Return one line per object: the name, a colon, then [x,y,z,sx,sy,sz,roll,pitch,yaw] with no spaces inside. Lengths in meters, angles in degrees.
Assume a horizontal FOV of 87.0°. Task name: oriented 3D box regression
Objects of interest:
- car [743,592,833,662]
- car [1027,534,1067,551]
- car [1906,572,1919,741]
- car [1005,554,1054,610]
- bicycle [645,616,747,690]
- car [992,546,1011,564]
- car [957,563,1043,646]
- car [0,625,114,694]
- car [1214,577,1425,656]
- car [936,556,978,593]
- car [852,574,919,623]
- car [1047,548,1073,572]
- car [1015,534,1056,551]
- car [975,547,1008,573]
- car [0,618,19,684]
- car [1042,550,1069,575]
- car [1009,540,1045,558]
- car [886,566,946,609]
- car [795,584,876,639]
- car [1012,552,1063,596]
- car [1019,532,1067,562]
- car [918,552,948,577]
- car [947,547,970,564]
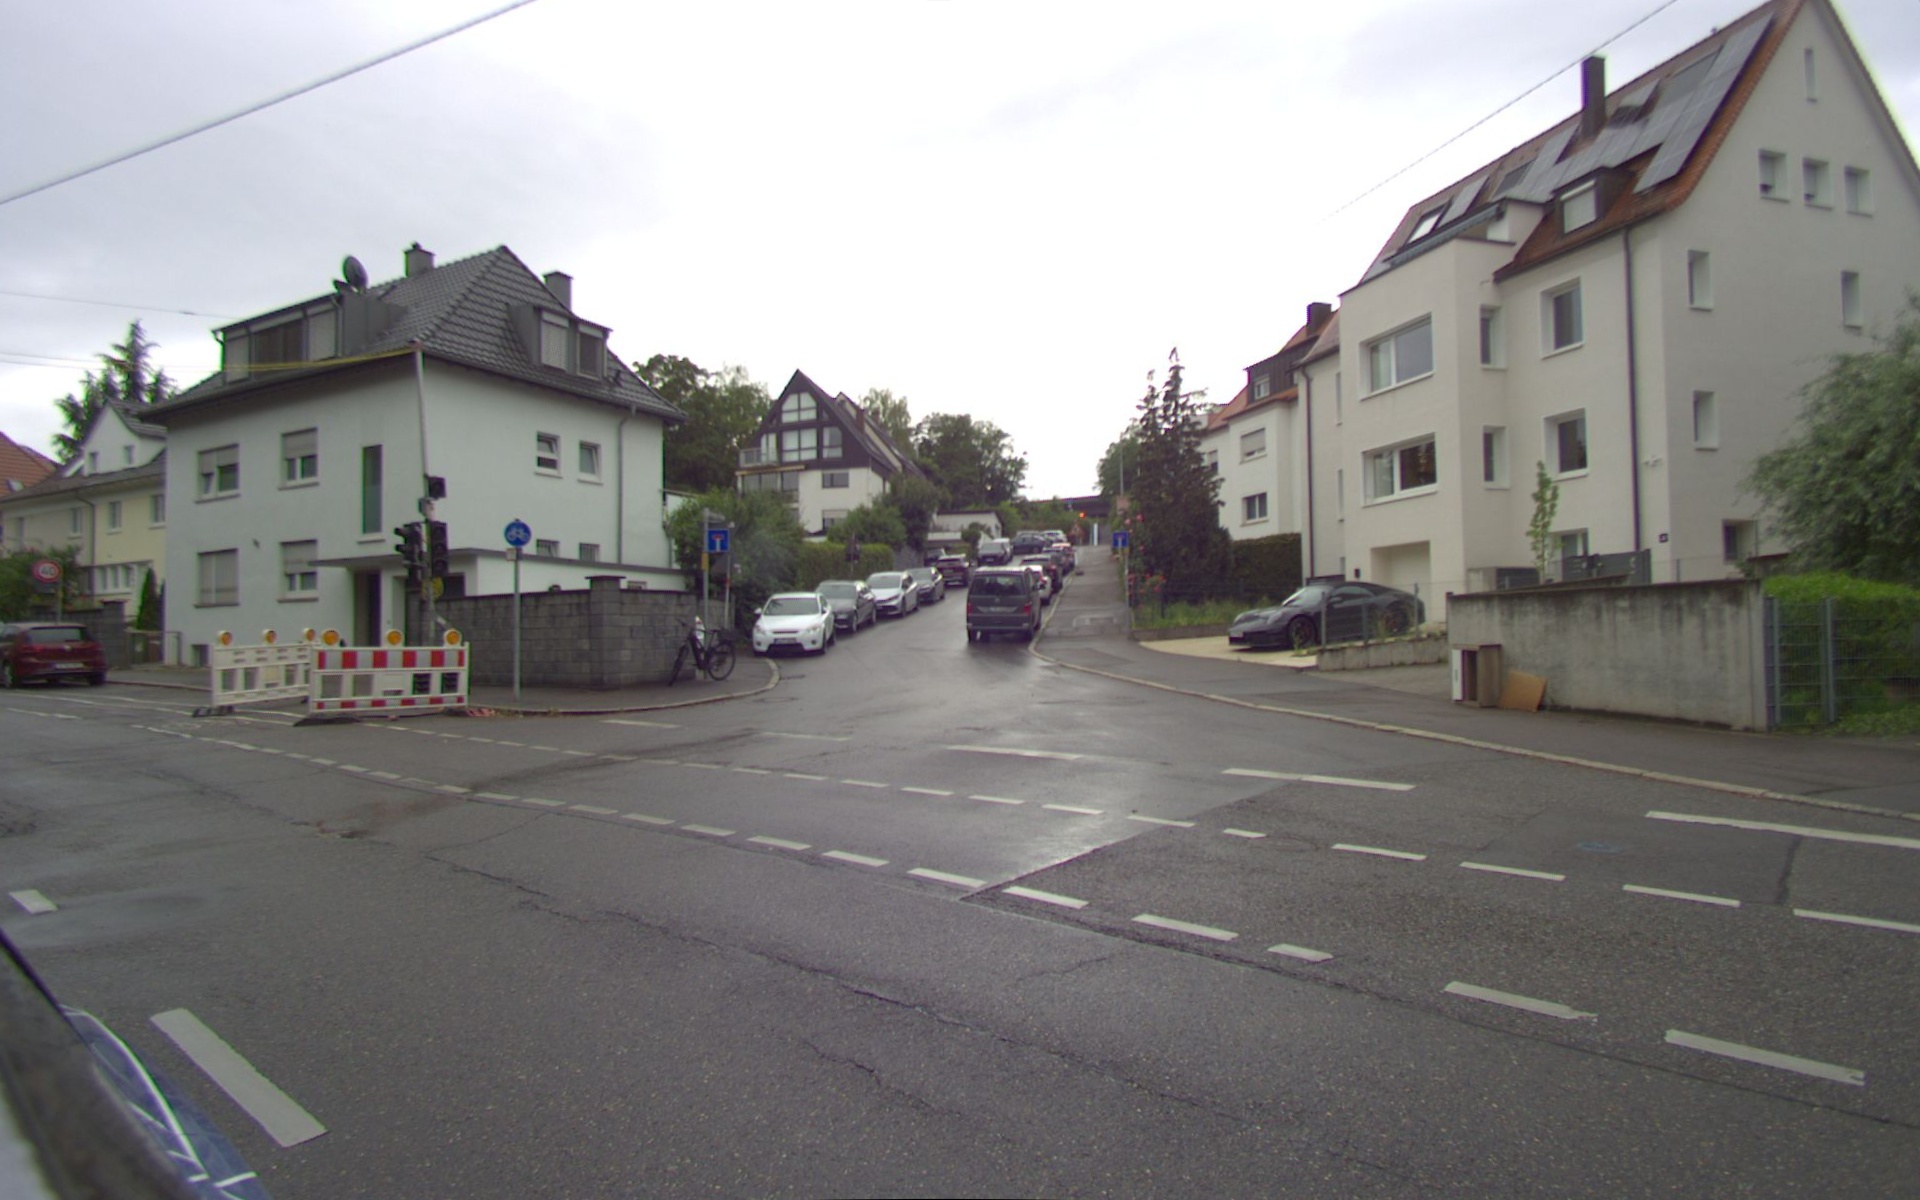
car: [-4.356,0.621,26.164,1.827,1.473,4.124,-1,3,-3]
car: [8.939,-5.911,103.921,3.782,1.529,1.664,-1,0,15]
car: [10.602,0.420,8.556,3.934,1.497,1.780,-2,-1,-12]
car: [2.818,-0.759,40.332,1.686,1.843,4.194,-1,6,7]
bicycle: [-4.788,0.929,18.465,0.508,1.249,1.984,1,0,32]
car: [3.057,-3.334,74.718,1.292,1.206,2.980,-1,3,5]
car: [1.240,0.046,29.333,1.978,2.028,4.482,-1,4,9]
car: [-21.470,1.333,23.391,3.833,1.443,1.768,-1,-1,30]
car: [7.705,0.330,21.780,3.942,1.290,1.613,-5,1,-13]
car: [-0.115,-1.369,52.473,1.623,1.637,3.992,-1,5,8]
car: [-2.659,-0.089,37.095,1.738,1.481,3.940,-1,4,6]
car: [6.237,-2.455,62.855,1.488,1.373,3.465,-1,0,8]
car: [7.391,-5.600,98.796,3.922,1.528,1.748,-1,0,6]
car: [2.195,-2.678,68.893,1.770,1.531,4.016,-1,0,9]
car: [-26.155,1.316,25.783,4.131,1.653,1.782,-1,-1,25]
car: [5.502,-2.150,58.119,1.274,1.325,2.984,-1,3,10]
car: [5.553,-4.208,83.661,2.914,1.328,1.282,-1,0,4]
car: [-1.808,-0.558,42.967,1.903,1.448,4.100,-1,5,7]
car: [-3.829,0.315,31.826,1.702,1.397,3.900,-1,4,6]
car: [3.520,-1.199,45.384,1.823,1.699,4.039,-1,5,11]
car: [7.202,-4.572,87.650,3.954,2.028,1.995,-5,-1,8]
car: [-1.828,-2.426,69.801,1.793,1.566,4.009,-1,0,3]
car: [-0.083,-3.267,74.029,1.559,1.220,3.650,-1,3,2]
